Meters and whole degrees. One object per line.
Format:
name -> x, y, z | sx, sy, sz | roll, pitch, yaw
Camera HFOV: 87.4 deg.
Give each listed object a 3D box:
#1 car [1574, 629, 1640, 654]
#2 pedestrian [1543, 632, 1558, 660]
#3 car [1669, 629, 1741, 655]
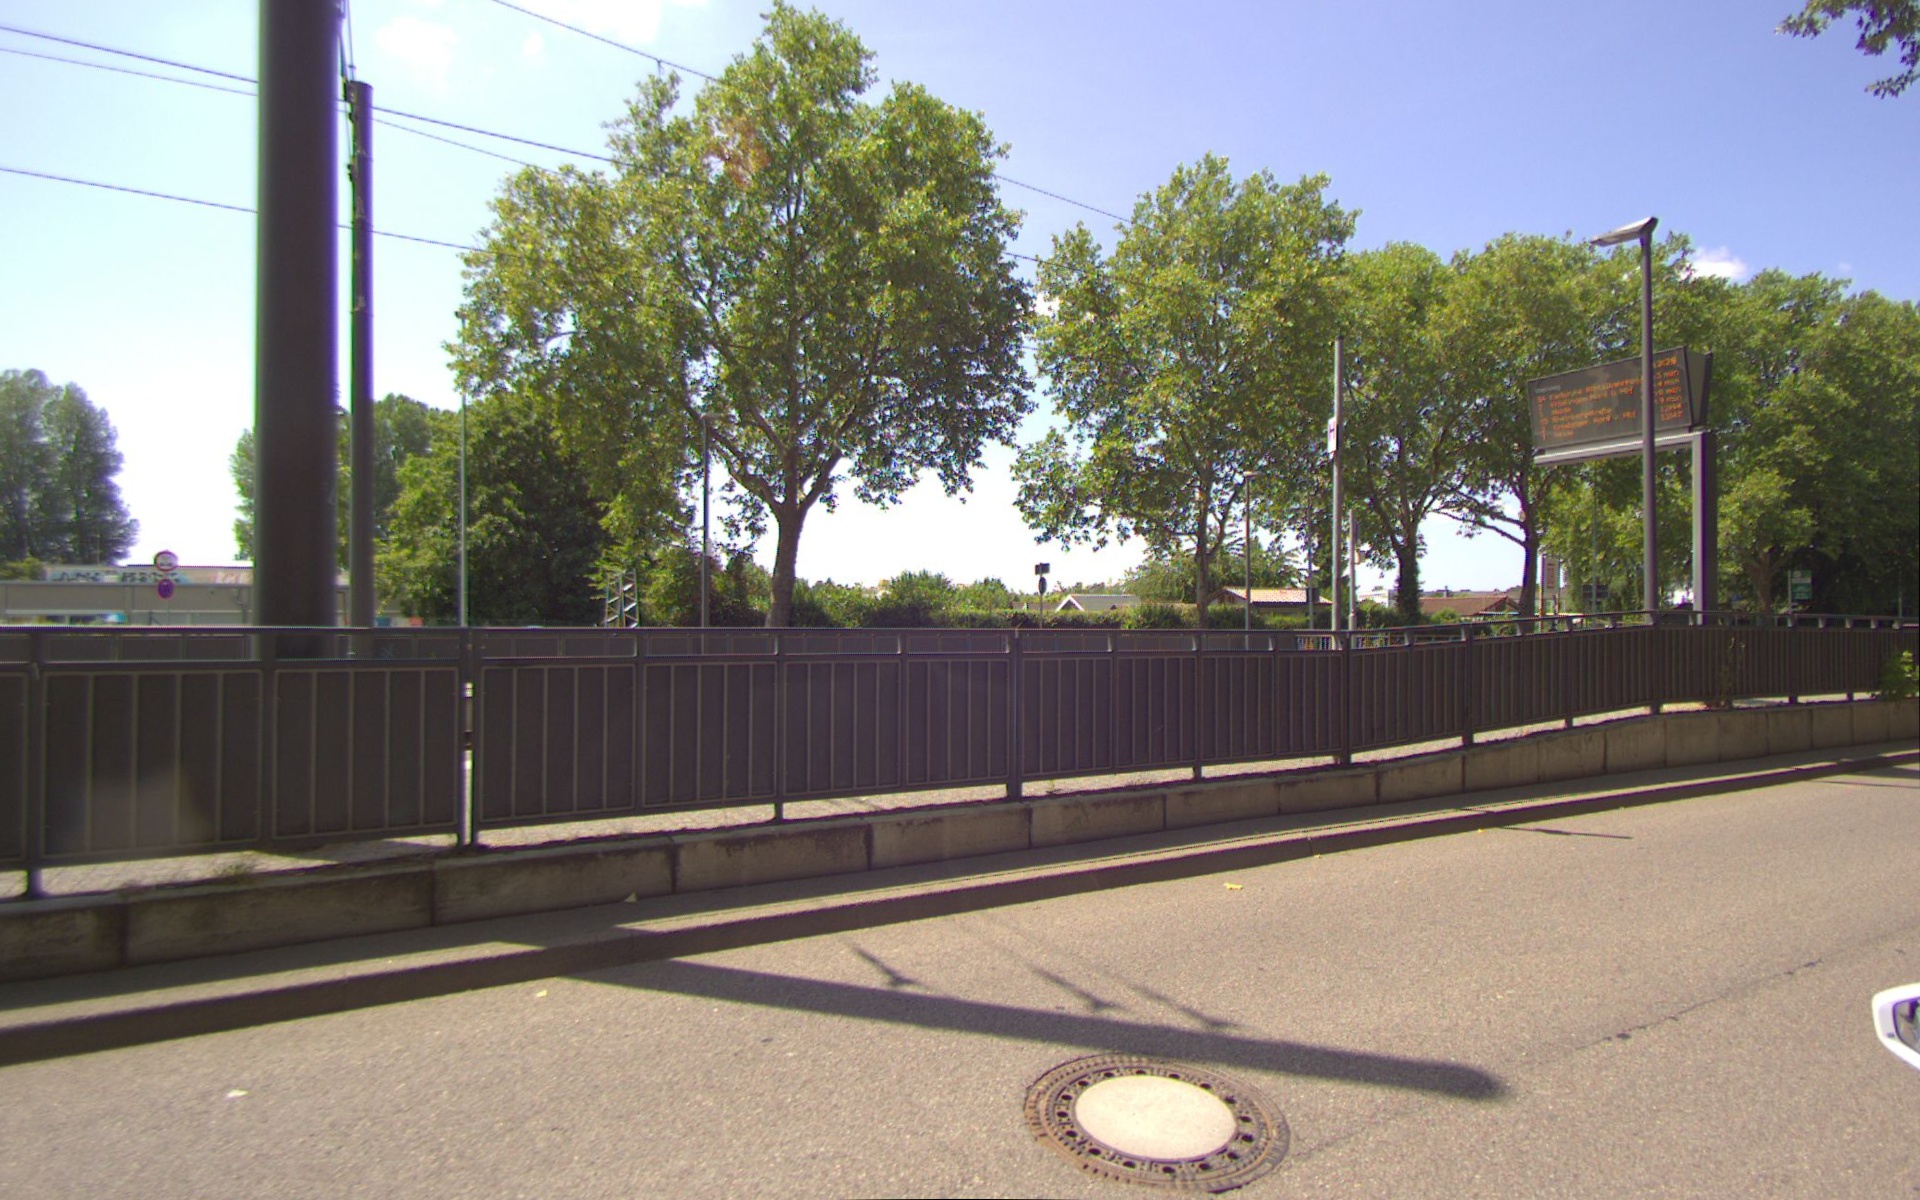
car -> 42.373, 2.696, 65.802 | 1.641, 1.495, 3.288 | 1, -1, -40
pedestrian -> 31.072, 2.404, 52.834 | 0.641, 1.471, 0.551 | 1, -1, -44
car -> 45.980, 2.584, 62.030 | 1.641, 1.495, 3.288 | 1, -1, -40
